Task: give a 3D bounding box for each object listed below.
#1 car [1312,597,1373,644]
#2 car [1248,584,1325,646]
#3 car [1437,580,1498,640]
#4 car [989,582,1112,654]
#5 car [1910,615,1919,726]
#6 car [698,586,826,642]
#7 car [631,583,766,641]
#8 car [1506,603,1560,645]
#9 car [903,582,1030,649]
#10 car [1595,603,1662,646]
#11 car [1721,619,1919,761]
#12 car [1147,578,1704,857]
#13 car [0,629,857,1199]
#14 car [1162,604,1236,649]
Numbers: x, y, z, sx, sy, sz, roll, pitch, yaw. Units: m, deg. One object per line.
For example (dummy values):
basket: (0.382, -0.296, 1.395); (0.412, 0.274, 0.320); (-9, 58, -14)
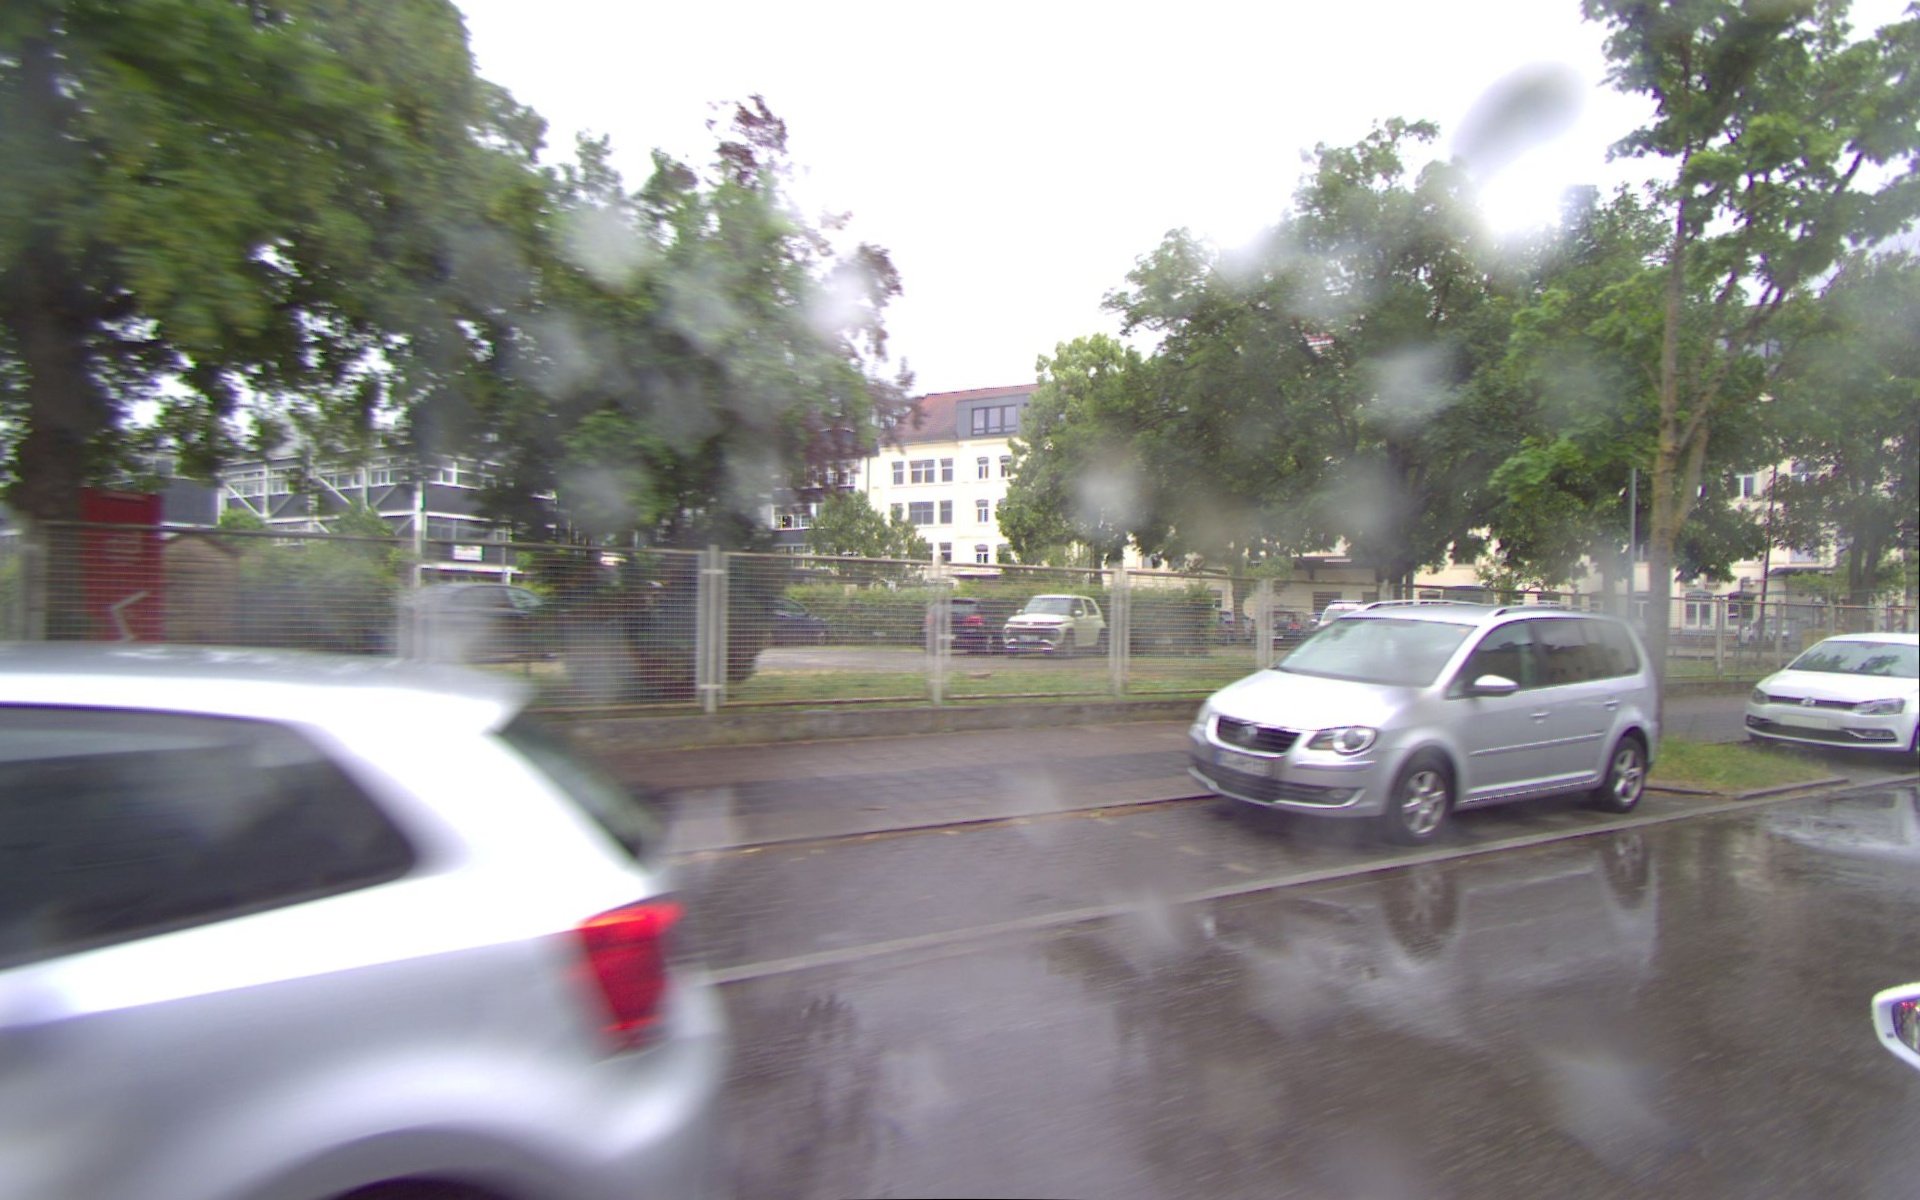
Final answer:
car: (15.954, 0.826, 41.786); (1.899, 1.809, 3.995); (2, 0, 27)
car: (11.804, 0.535, 36.176); (1.963, 2.040, 3.995); (2, 0, 27)
car: (19.731, 0.388, 39.011); (1.963, 2.150, 3.994); (2, 0, 28)
car: (2.347, 0.466, 25.102); (1.816, 1.593, 3.997); (2, -1, 25)
car: (16.066, 1.092, 15.254); (4.161, 1.619, 1.614); (2, 0, -36)
car: (-5.696, 0.416, 29.344); (1.828, 1.516, 3.915); (1, -1, 22)
car: (-7.794, 0.359, 30.285); (1.895, 1.622, 3.861); (1, -1, 25)
car: (21.571, 0.880, 37.913); (1.679, 1.453, 3.644); (2, 0, 29)
car: (0.272, 0.424, 25.981); (1.961, 1.578, 4.000); (1, -2, 21)
car: (24.350, 0.881, 36.703); (1.679, 1.453, 3.644); (2, 0, 29)
car: (11.528, 1.042, 12.502); (4.120, 1.480, 1.654); (2, 0, -27)
car: (3.874, 0.750, 8.153); (4.546, 1.702, 1.767); (1, 2, -30)
car: (-2.426, 0.758, 1.580); (4.196, 1.401, 1.667); (1, -1, -27)
car: (9.157, 0.964, 38.319); (1.963, 1.529, 3.544); (2, 1, 27)
